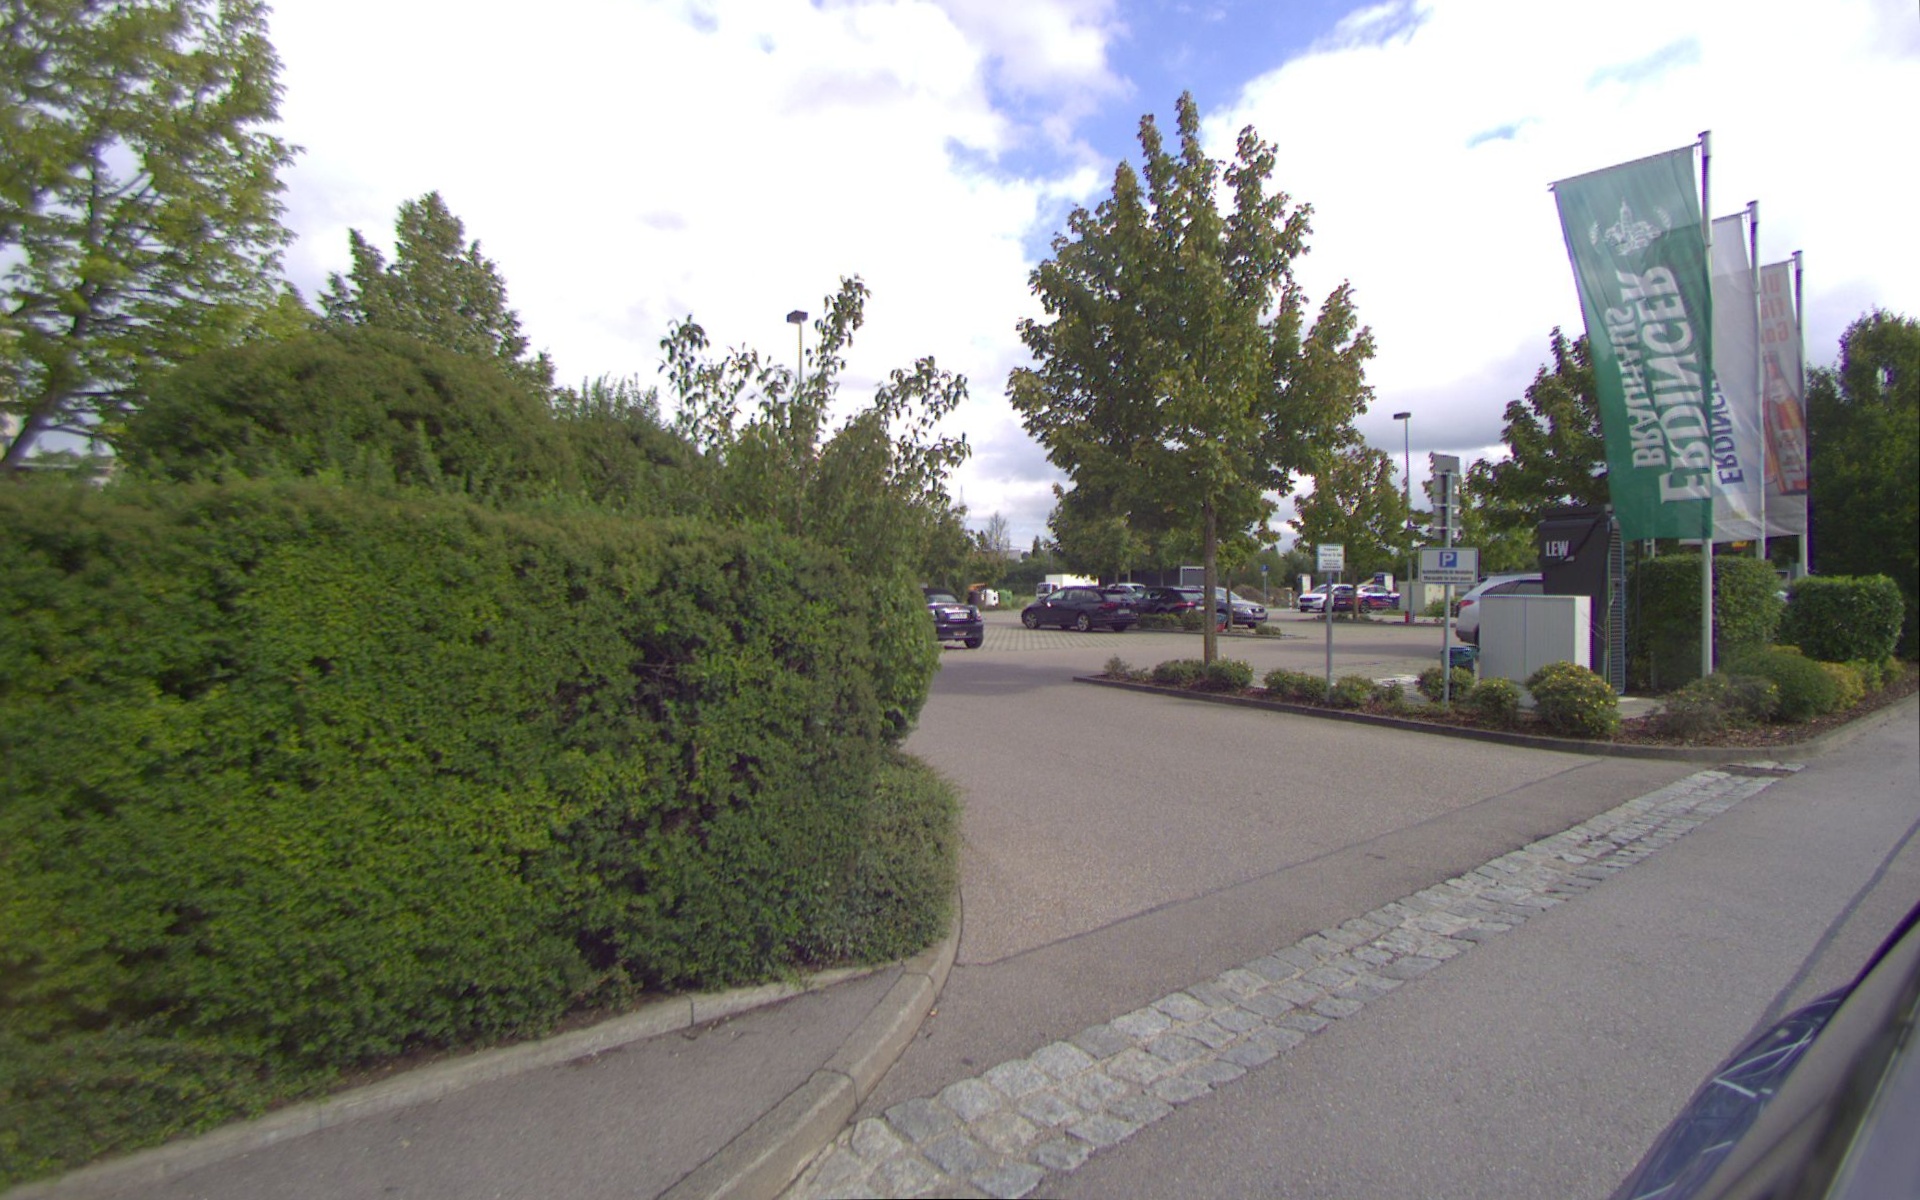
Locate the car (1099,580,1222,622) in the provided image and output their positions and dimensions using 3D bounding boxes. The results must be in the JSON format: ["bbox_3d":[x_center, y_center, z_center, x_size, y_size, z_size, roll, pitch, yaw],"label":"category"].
[{"bbox_3d":[6.914,0.043,35.314,1.688,1.363,4.278,0,0,-33],"label":"car"}]

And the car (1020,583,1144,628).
[{"bbox_3d":[3.917,0.163,33.091,1.688,1.363,4.278,0,0,-33],"label":"car"}]

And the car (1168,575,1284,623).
[{"bbox_3d":[9.440,-0.034,36.229,1.958,1.591,4.007,0,0,-23],"label":"car"}]

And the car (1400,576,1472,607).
[{"bbox_3d":[26.183,-0.453,55.624,3.922,1.635,1.724,0,0,-32],"label":"car"}]

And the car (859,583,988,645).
[{"bbox_3d":[-0.938,0.312,24.212,1.598,1.368,3.374,0,0,-33],"label":"car"}]

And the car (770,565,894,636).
[{"bbox_3d":[-3.683,0.008,28.426,1.733,1.845,4.368,0,0,-33],"label":"car"}]

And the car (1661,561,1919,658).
[{"bbox_3d":[16.744,0.170,20.089,1.625,1.738,4.365,0,0,-33],"label":"car"}]

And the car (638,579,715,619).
[{"bbox_3d":[-11.605,-0.038,41.288,1.790,1.519,3.844,0,0,-37],"label":"car"}]

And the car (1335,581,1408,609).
[{"bbox_3d":[23.609,-0.284,58.076,3.917,1.538,1.609,0,0,-24],"label":"car"}]

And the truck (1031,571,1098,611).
[{"bbox_3d":[11.260,-0.986,108.223,8.400,4.173,1.996,0,0,-41],"label":"truck"}]

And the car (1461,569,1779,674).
[{"bbox_3d":[12.181,0.284,19.058,1.880,1.717,4.686,-1,2,-29],"label":"car"}]

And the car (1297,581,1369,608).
[{"bbox_3d":[22.214,-0.332,60.210,3.917,1.538,1.719,0,0,-24],"label":"car"}]

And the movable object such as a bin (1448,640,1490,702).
[{"bbox_3d":[5.999,0.830,11.925,0.360,0.693,0.289,0,-1,-29],"label":"movable object such as a bin"}]
